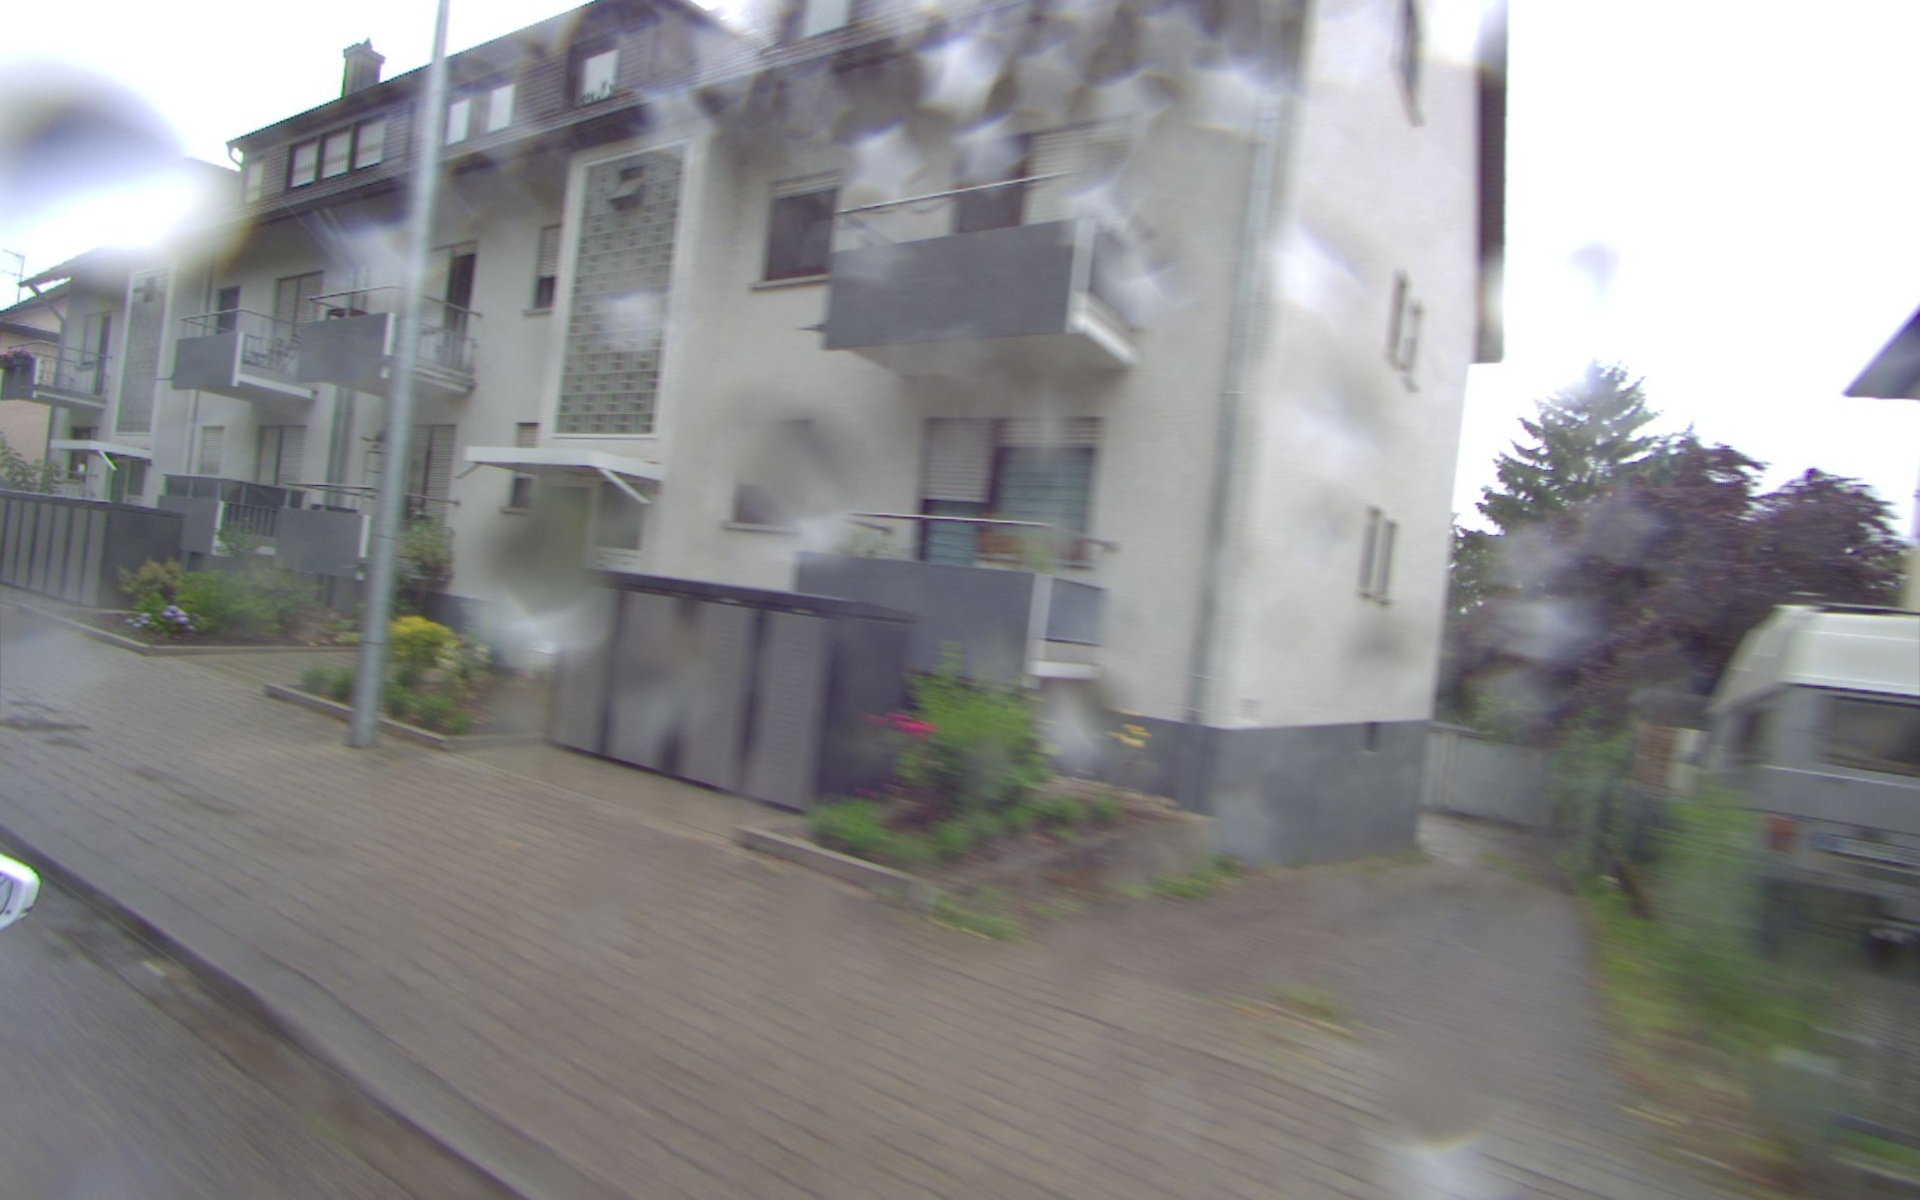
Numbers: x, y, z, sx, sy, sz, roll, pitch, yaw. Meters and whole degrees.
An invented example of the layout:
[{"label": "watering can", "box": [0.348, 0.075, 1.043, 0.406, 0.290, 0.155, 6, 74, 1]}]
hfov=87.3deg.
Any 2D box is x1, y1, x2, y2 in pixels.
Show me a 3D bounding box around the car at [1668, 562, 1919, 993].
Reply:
[{"label": "car", "box": [7.750, 1.491, 8.651, 1.972, 2.791, 4.470, 10, 0, 31]}]
